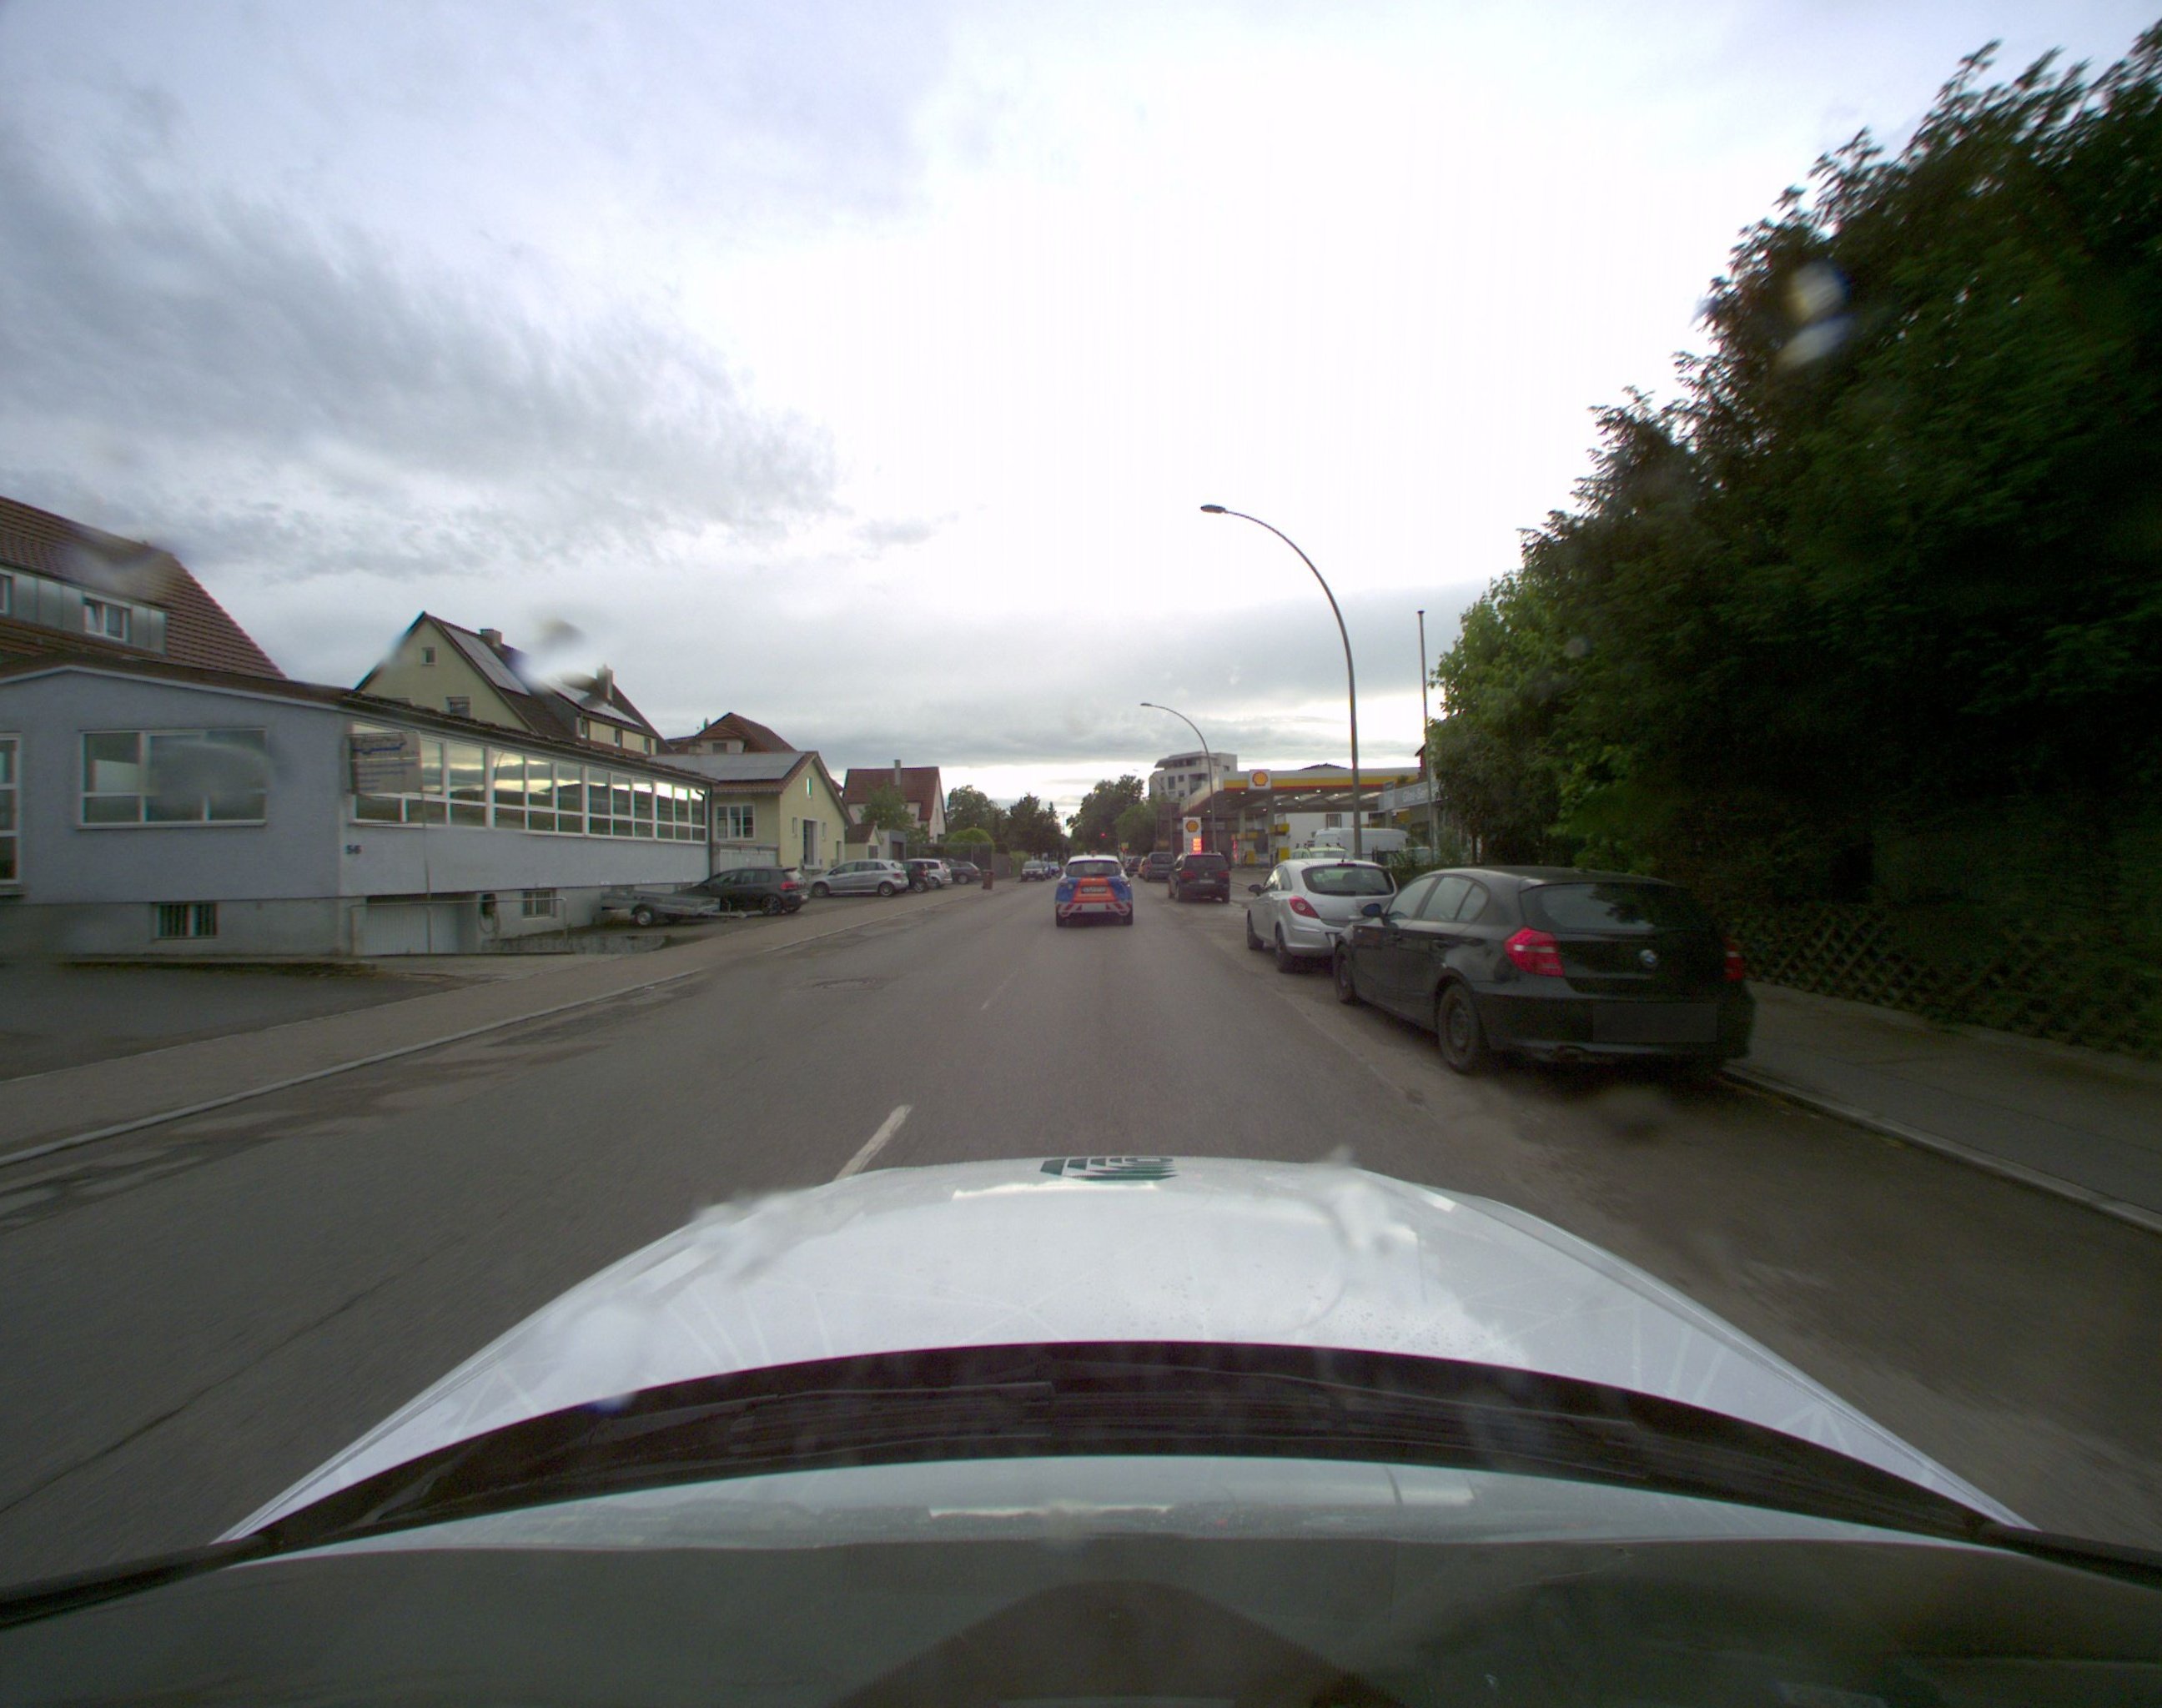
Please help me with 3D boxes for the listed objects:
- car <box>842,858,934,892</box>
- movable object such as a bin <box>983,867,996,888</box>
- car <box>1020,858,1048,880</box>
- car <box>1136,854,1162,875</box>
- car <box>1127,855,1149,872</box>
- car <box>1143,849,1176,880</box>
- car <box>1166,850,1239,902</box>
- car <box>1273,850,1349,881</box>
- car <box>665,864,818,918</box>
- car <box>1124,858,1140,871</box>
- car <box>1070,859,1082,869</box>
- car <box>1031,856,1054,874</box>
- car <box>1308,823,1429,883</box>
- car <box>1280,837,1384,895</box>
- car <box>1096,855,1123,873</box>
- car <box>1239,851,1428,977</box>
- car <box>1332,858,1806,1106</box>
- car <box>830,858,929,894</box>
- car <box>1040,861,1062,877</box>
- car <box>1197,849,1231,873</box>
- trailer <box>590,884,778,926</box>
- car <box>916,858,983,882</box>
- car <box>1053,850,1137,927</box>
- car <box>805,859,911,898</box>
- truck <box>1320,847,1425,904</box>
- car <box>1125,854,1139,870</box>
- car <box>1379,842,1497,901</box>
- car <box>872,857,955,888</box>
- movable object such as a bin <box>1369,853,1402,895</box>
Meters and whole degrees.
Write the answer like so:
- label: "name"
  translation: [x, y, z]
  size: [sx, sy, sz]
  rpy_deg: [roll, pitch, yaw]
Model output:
- label: "car"
  translation: [-9.308, 1.017, 39.613]
  size: [4.076, 1.503, 1.754]
  rpy_deg: [-1, 0, -4]
- label: "movable object such as a bin"
  translation: [-5.133, 1.310, 45.578]
  size: [0.593, 1.057, 0.687]
  rpy_deg: [3, 1, 2]
- label: "car"
  translation: [-3.453, 1.063, 60.352]
  size: [1.602, 1.506, 3.709]
  rpy_deg: [-3, -1, 2]
- label: "car"
  translation: [4.950, 0.764, 59.891]
  size: [1.650, 1.402, 3.802]
  rpy_deg: [-1, 0, 1]
- label: "car"
  translation: [5.690, 0.919, 81.579]
  size: [2.083, 1.662, 4.561]
  rpy_deg: [0, 0, 2]
- label: "car"
  translation: [4.742, 0.630, 49.761]
  size: [1.650, 1.738, 4.446]
  rpy_deg: [1, 0, 1]
- label: "car"
  translation: [4.060, 0.696, 27.912]
  size: [1.986, 1.596, 4.002]
  rpy_deg: [-2, 0, 2]
- label: "car"
  translation: [11.077, 0.544, 39.153]
  size: [1.758, 1.374, 4.024]
  rpy_deg: [-2, 0, 45]
- label: "car"
  translation: [-10.231, 1.092, 24.741]
  size: [3.860, 1.438, 1.768]
  rpy_deg: [-2, 0, 0]
- label: "car"
  translation: [6.483, 1.299, 102.895]
  size: [1.859, 1.665, 4.321]
  rpy_deg: [-1, -1, 2]
- label: "car"
  translation: [-0.765, 1.507, 124.722]
  size: [1.619, 1.433, 3.687]
  rpy_deg: [-2, -1, 4]
- label: "car"
  translation: [-3.234, 0.911, 68.419]
  size: [1.540, 1.403, 3.599]
  rpy_deg: [-3, -1, 2]
- label: "car"
  translation: [13.004, -0.077, 36.875]
  size: [4.805, 2.520, 2.232]
  rpy_deg: [-1, 0, -20]
- label: "car"
  translation: [7.992, 0.360, 26.345]
  size: [1.989, 1.683, 3.996]
  rpy_deg: [-1, 0, -3]
- label: "car"
  translation: [2.685, 0.934, 75.522]
  size: [1.982, 1.574, 4.010]
  rpy_deg: [0, 0, 9]
- label: "car"
  translation: [3.410, 0.714, 11.732]
  size: [1.730, 1.502, 3.885]
  rpy_deg: [0, 0, 3]
- label: "car"
  translation: [3.427, 0.759, 6.626]
  size: [1.731, 1.403, 3.720]
  rpy_deg: [0, 0, 2]
- label: "car"
  translation: [-9.260, 0.996, 37.669]
  size: [4.074, 1.532, 1.812]
  rpy_deg: [-1, 0, -3]
- label: "car"
  translation: [-2.881, 1.431, 78.712]
  size: [1.800, 1.403, 3.946]
  rpy_deg: [-3, -1, 2]
- label: "car"
  translation: [10.103, 0.543, 62.103]
  size: [1.814, 1.759, 3.998]
  rpy_deg: [-2, 0, -1]
- label: "trailer"
  translation: [-10.683, 1.362, 22.151]
  size: [4.184, 0.943, 1.794]
  rpy_deg: [-1, 0, -1]
- label: "car"
  translation: [-8.263, 0.989, 51.602]
  size: [4.078, 1.414, 1.710]
  rpy_deg: [0, 0, -6]
- label: "car"
  translation: [0.366, 0.729, 19.348]
  size: [1.739, 1.581, 4.002]
  rpy_deg: [-2, 0, 2]
- label: "car"
  translation: [-9.598, 1.025, 35.384]
  size: [4.076, 1.532, 1.997]
  rpy_deg: [-1, 0, -4]
- label: "truck"
  translation: [8.019, 0.589, 22.536]
  size: [2.539, 1.530, 1.330]
  rpy_deg: [-1, 0, 9]
- label: "car"
  translation: [6.823, 1.033, 108.773]
  size: [1.769, 2.029, 4.760]
  rpy_deg: [0, 0, 4]
- label: "car"
  translation: [10.632, 0.487, 24.545]
  size: [1.743, 1.519, 3.729]
  rpy_deg: [-5, 0, -2]
- label: "car"
  translation: [-8.895, 0.951, 43.507]
  size: [4.076, 1.513, 1.880]
  rpy_deg: [-1, 0, -4]
- label: "movable object such as a bin"
  translation: [7.884, 0.511, 21.102]
  size: [0.572, 1.075, 0.682]
  rpy_deg: [-2, -1, 1]
